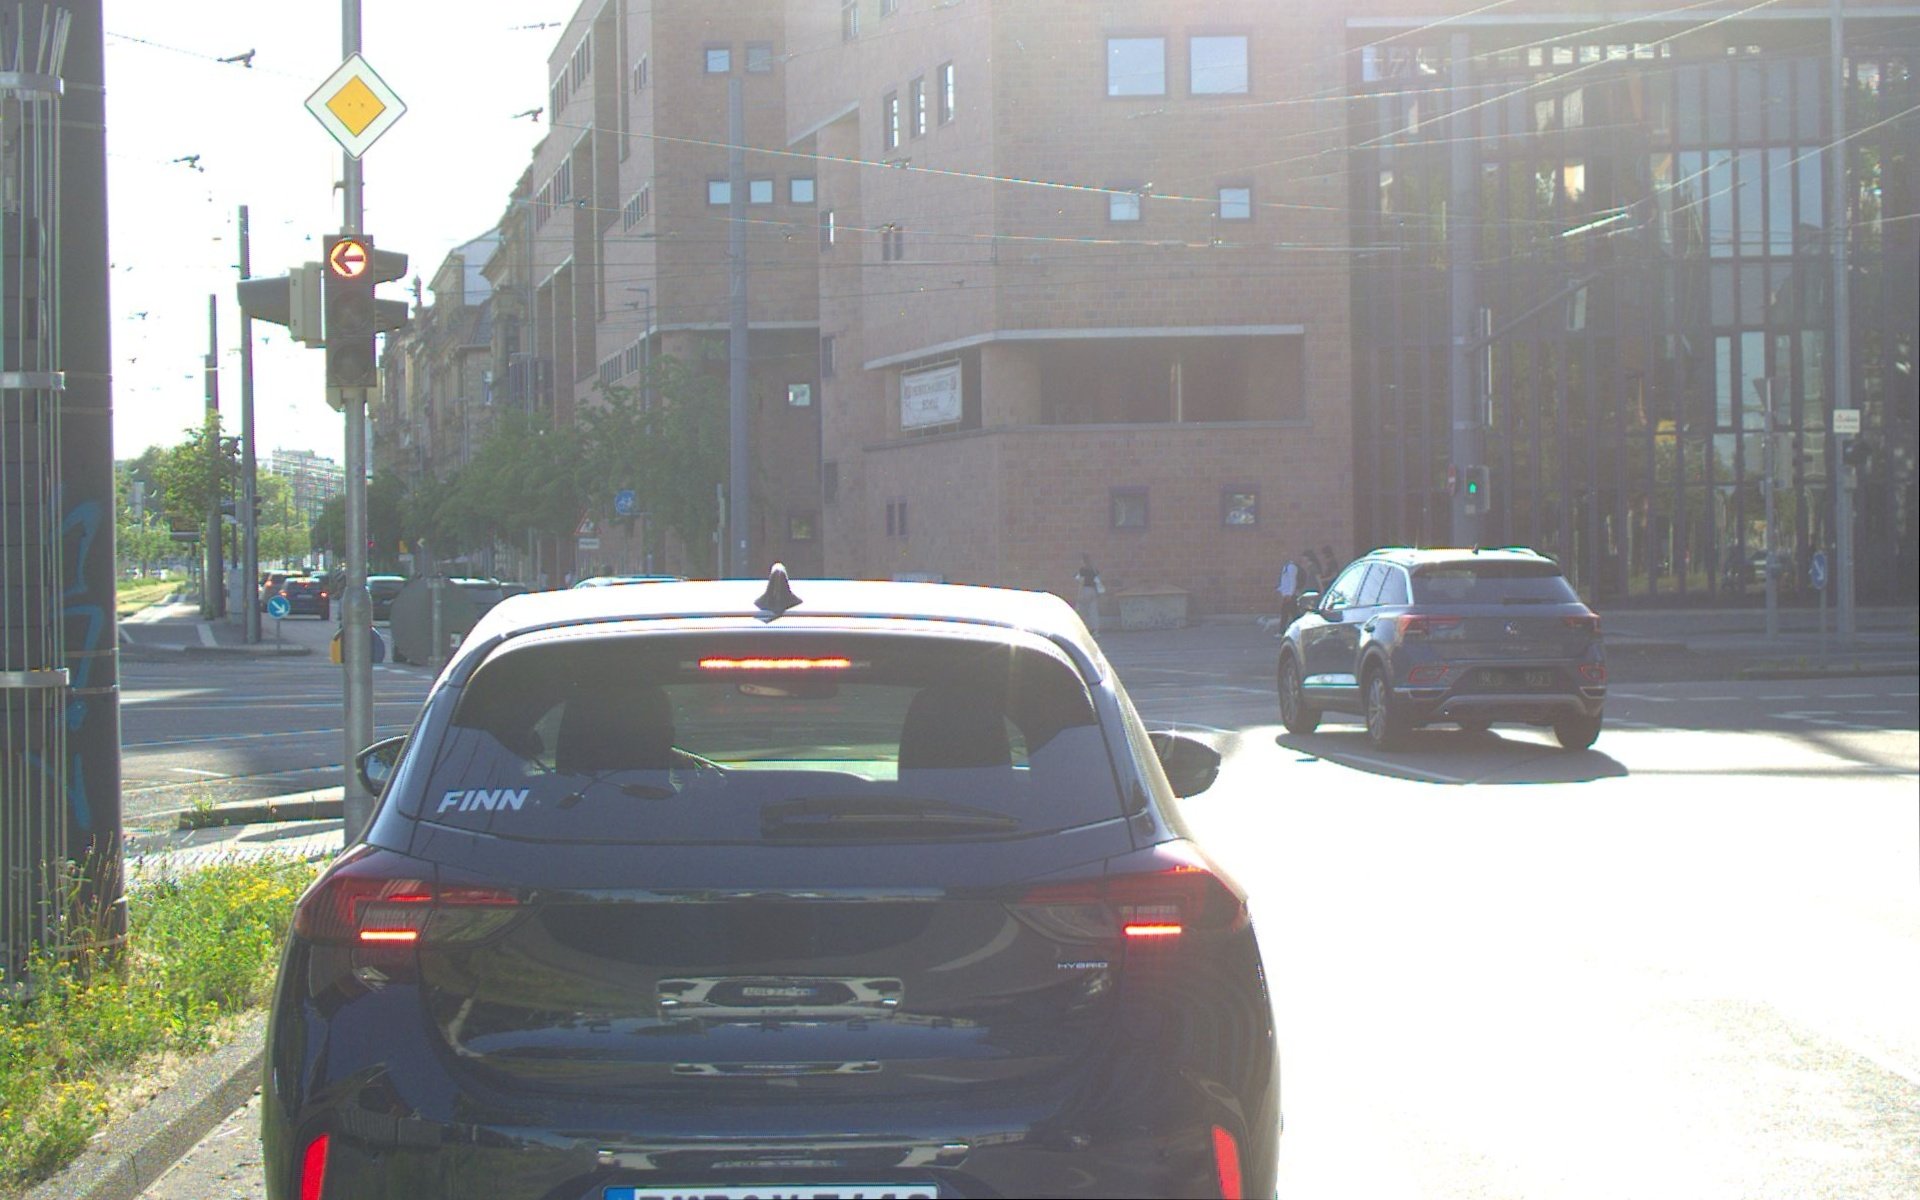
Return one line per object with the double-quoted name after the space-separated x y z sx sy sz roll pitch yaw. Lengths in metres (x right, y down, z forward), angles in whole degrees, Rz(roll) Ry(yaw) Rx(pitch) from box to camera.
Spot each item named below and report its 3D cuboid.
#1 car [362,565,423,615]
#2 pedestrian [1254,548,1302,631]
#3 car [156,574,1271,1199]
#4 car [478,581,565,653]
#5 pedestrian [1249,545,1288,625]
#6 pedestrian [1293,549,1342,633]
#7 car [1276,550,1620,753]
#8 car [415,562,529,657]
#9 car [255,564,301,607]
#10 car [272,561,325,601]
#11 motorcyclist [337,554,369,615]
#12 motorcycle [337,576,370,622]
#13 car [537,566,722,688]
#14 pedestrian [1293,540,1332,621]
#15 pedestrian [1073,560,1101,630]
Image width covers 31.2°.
-17.437 -0.323 105.744 1.807 1.452 4.001 0 1 -9 "car"
6.276 -0.208 67.872 0.900 1.611 0.560 -1 1 8 "pedestrian"
-0.341 0.682 7.114 1.649 1.428 4.000 -1 1 1 "car"
-9.503 0.346 74.588 1.807 1.452 4.001 0 1 -7 "car"
6.334 -0.309 70.579 0.738 1.611 0.560 -1 1 8 "pedestrian"
6.979 -0.177 67.137 0.900 1.611 0.560 -1 1 8 "pedestrian"
3.857 0.360 27.810 1.744 1.499 3.881 -1 1 -8 "car"
-8.261 0.128 58.152 1.811 1.487 4.497 -1 1 -8 "car"
-26.846 -0.592 135.231 1.737 1.645 4.001 -1 1 -12 "car"
-22.958 -0.664 119.220 1.737 1.345 4.001 -1 1 -12 "car"
-15.188 -0.394 86.074 0.744 1.525 1.021 -1 1 -8 "motorcyclist"
-15.178 -0.023 86.072 0.775 1.111 1.970 -1 1 -9 "motorcycle"
-4.226 0.302 43.454 1.685 1.428 4.154 -1 1 -14 "car"
7.073 -0.390 68.941 0.738 1.611 0.560 -1 1 8 "pedestrian"
2.615 -0.103 70.627 0.529 1.425 0.598 -1 1 -1 "pedestrian"
